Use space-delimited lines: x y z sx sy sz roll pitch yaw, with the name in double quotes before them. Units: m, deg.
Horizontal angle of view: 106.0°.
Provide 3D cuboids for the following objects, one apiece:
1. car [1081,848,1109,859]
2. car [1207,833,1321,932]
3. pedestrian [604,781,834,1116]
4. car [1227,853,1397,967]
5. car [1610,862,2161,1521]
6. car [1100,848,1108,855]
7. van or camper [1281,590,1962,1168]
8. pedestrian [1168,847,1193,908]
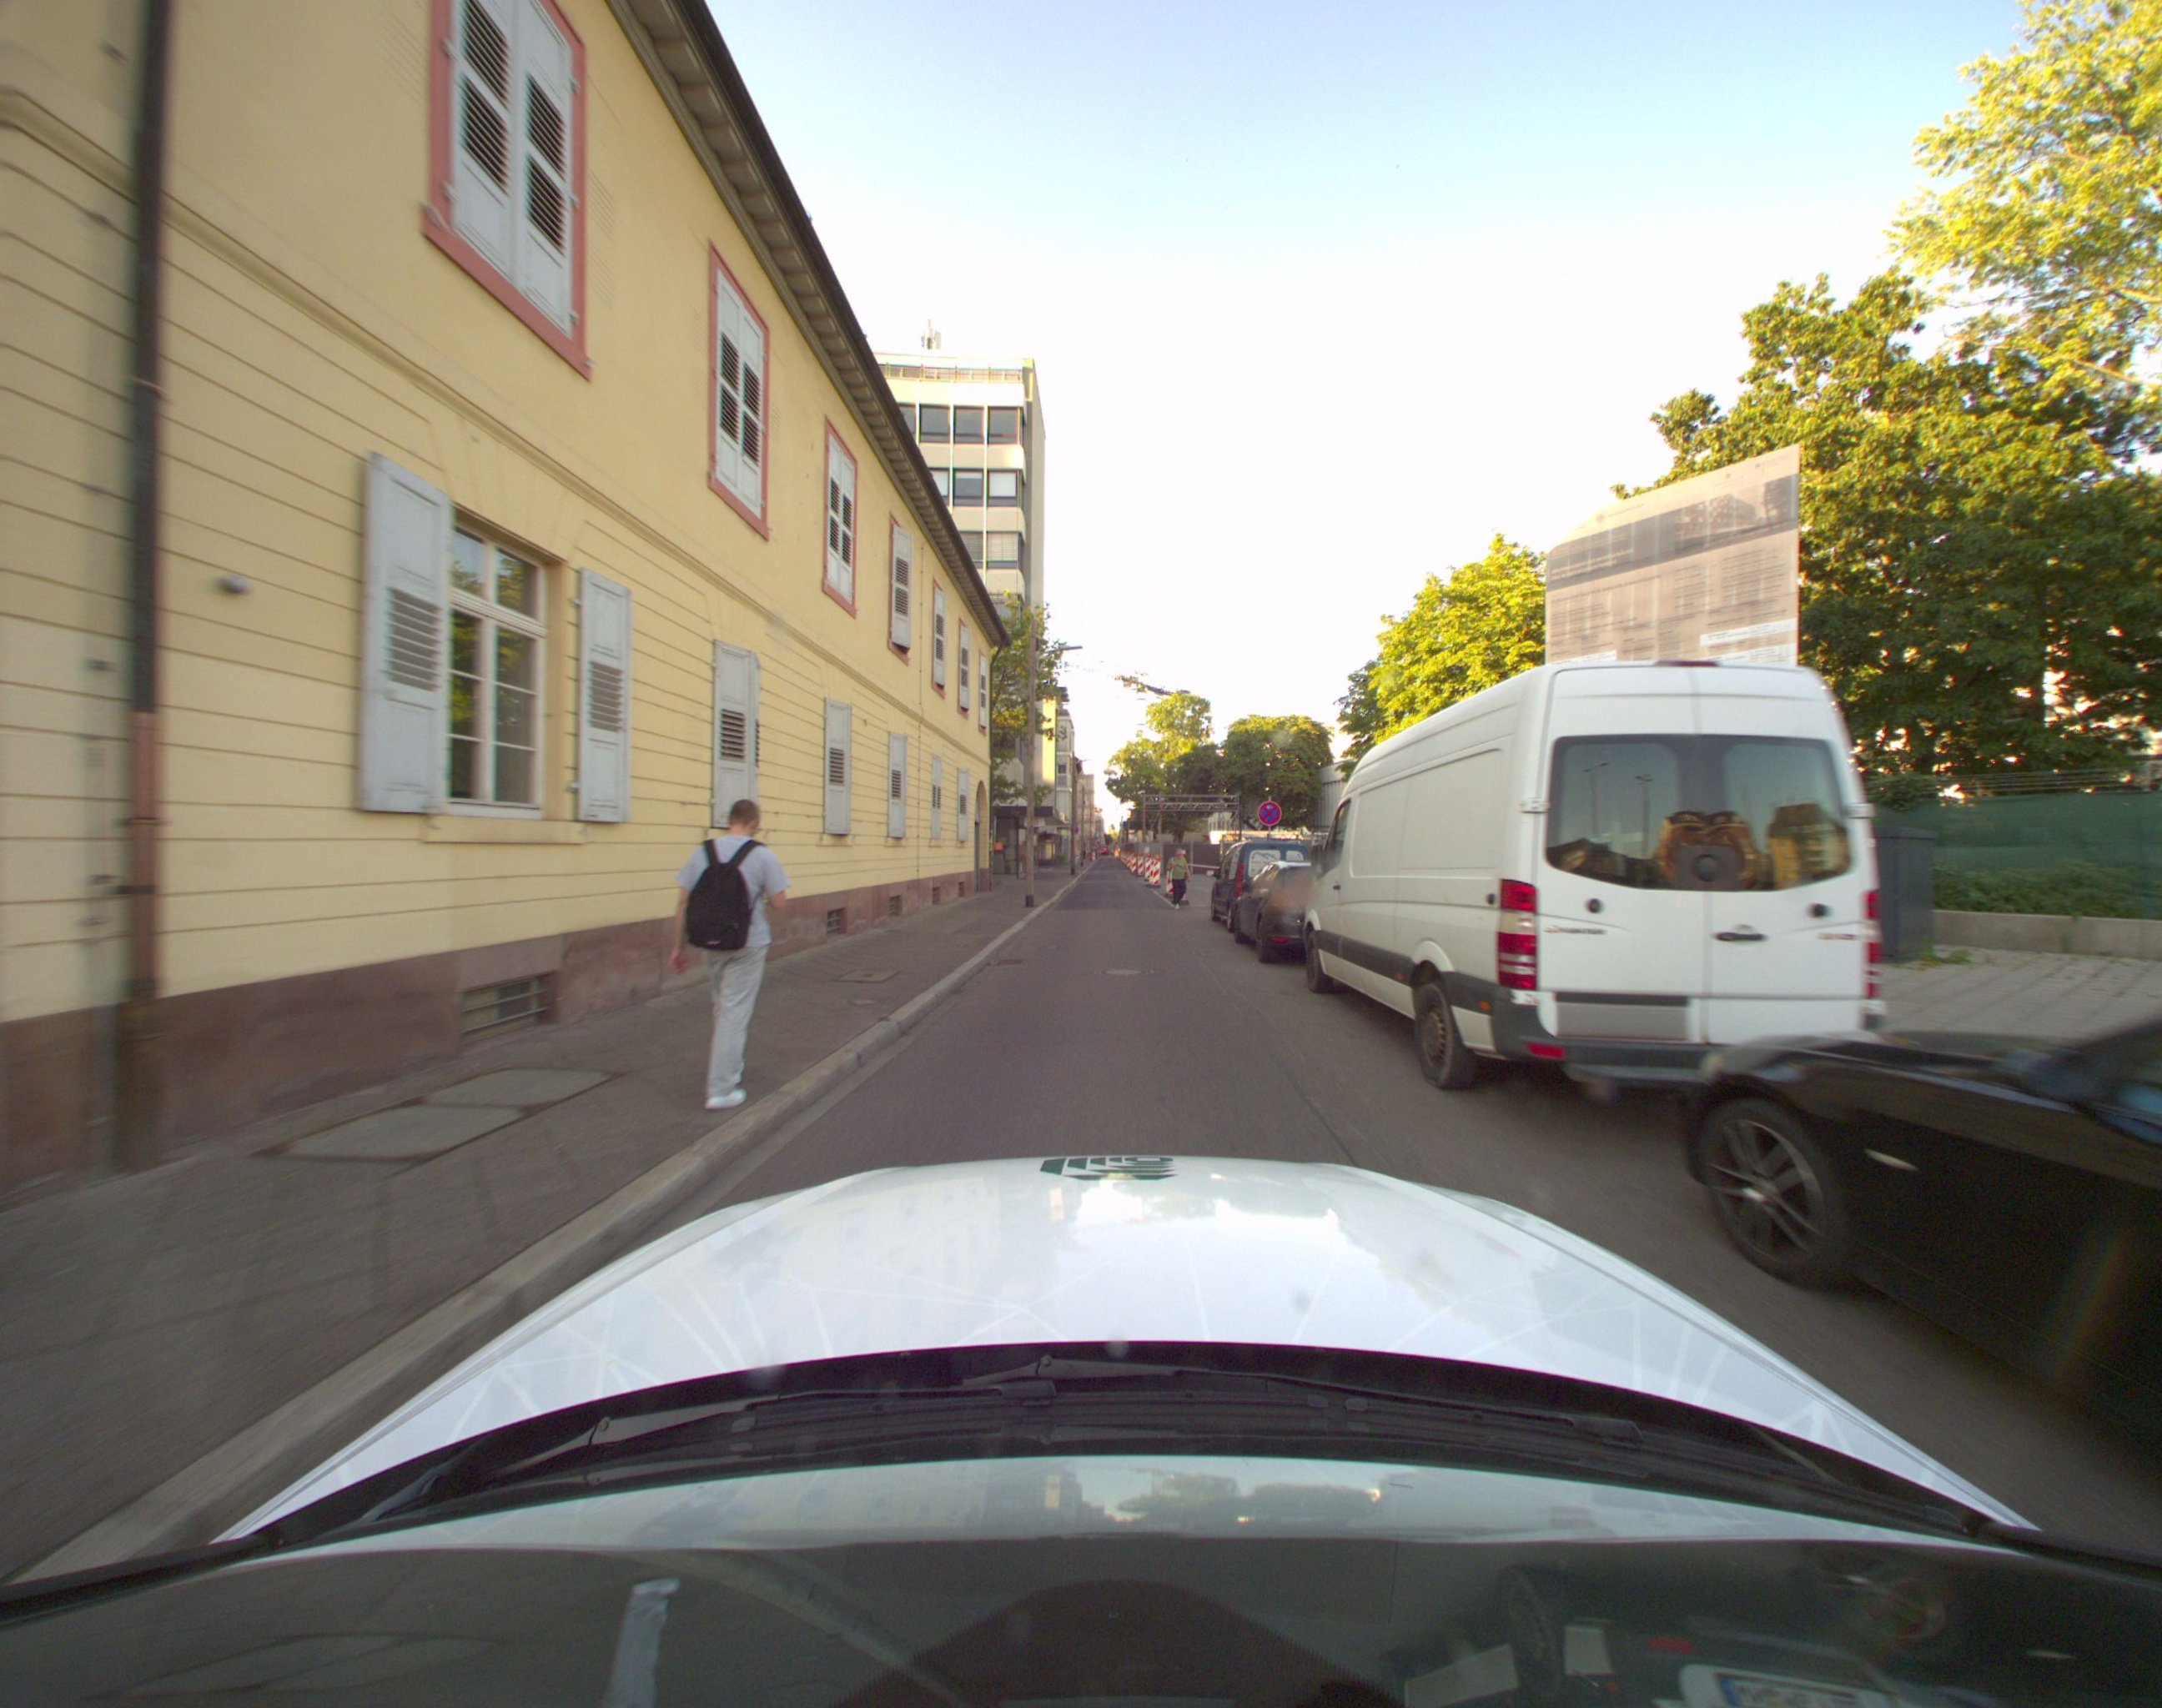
"car" 1.935 -0.088 109.576 3.731 1.459 1.697 0 0 -1
"car" 3.770 0.527 17.366 1.706 1.848 4.025 1 0 3
"pedestrian" -2.018 0.484 4.660 0.872 1.724 0.831 1 0 6
"car" 3.396 0.732 12.729 1.685 1.459 4.102 1 0 3
"car" 3.256 0.775 1.547 1.722 1.429 4.476 1 0 2
"car" 5.120 -0.550 181.159 1.851 1.662 4.002 1 0 2
"van or camper" 3.398 0.112 7.177 2.068 2.774 6.456 0 0 4
"pedestrian" 2.694 0.618 22.140 0.610 1.629 0.819 1 0 5
